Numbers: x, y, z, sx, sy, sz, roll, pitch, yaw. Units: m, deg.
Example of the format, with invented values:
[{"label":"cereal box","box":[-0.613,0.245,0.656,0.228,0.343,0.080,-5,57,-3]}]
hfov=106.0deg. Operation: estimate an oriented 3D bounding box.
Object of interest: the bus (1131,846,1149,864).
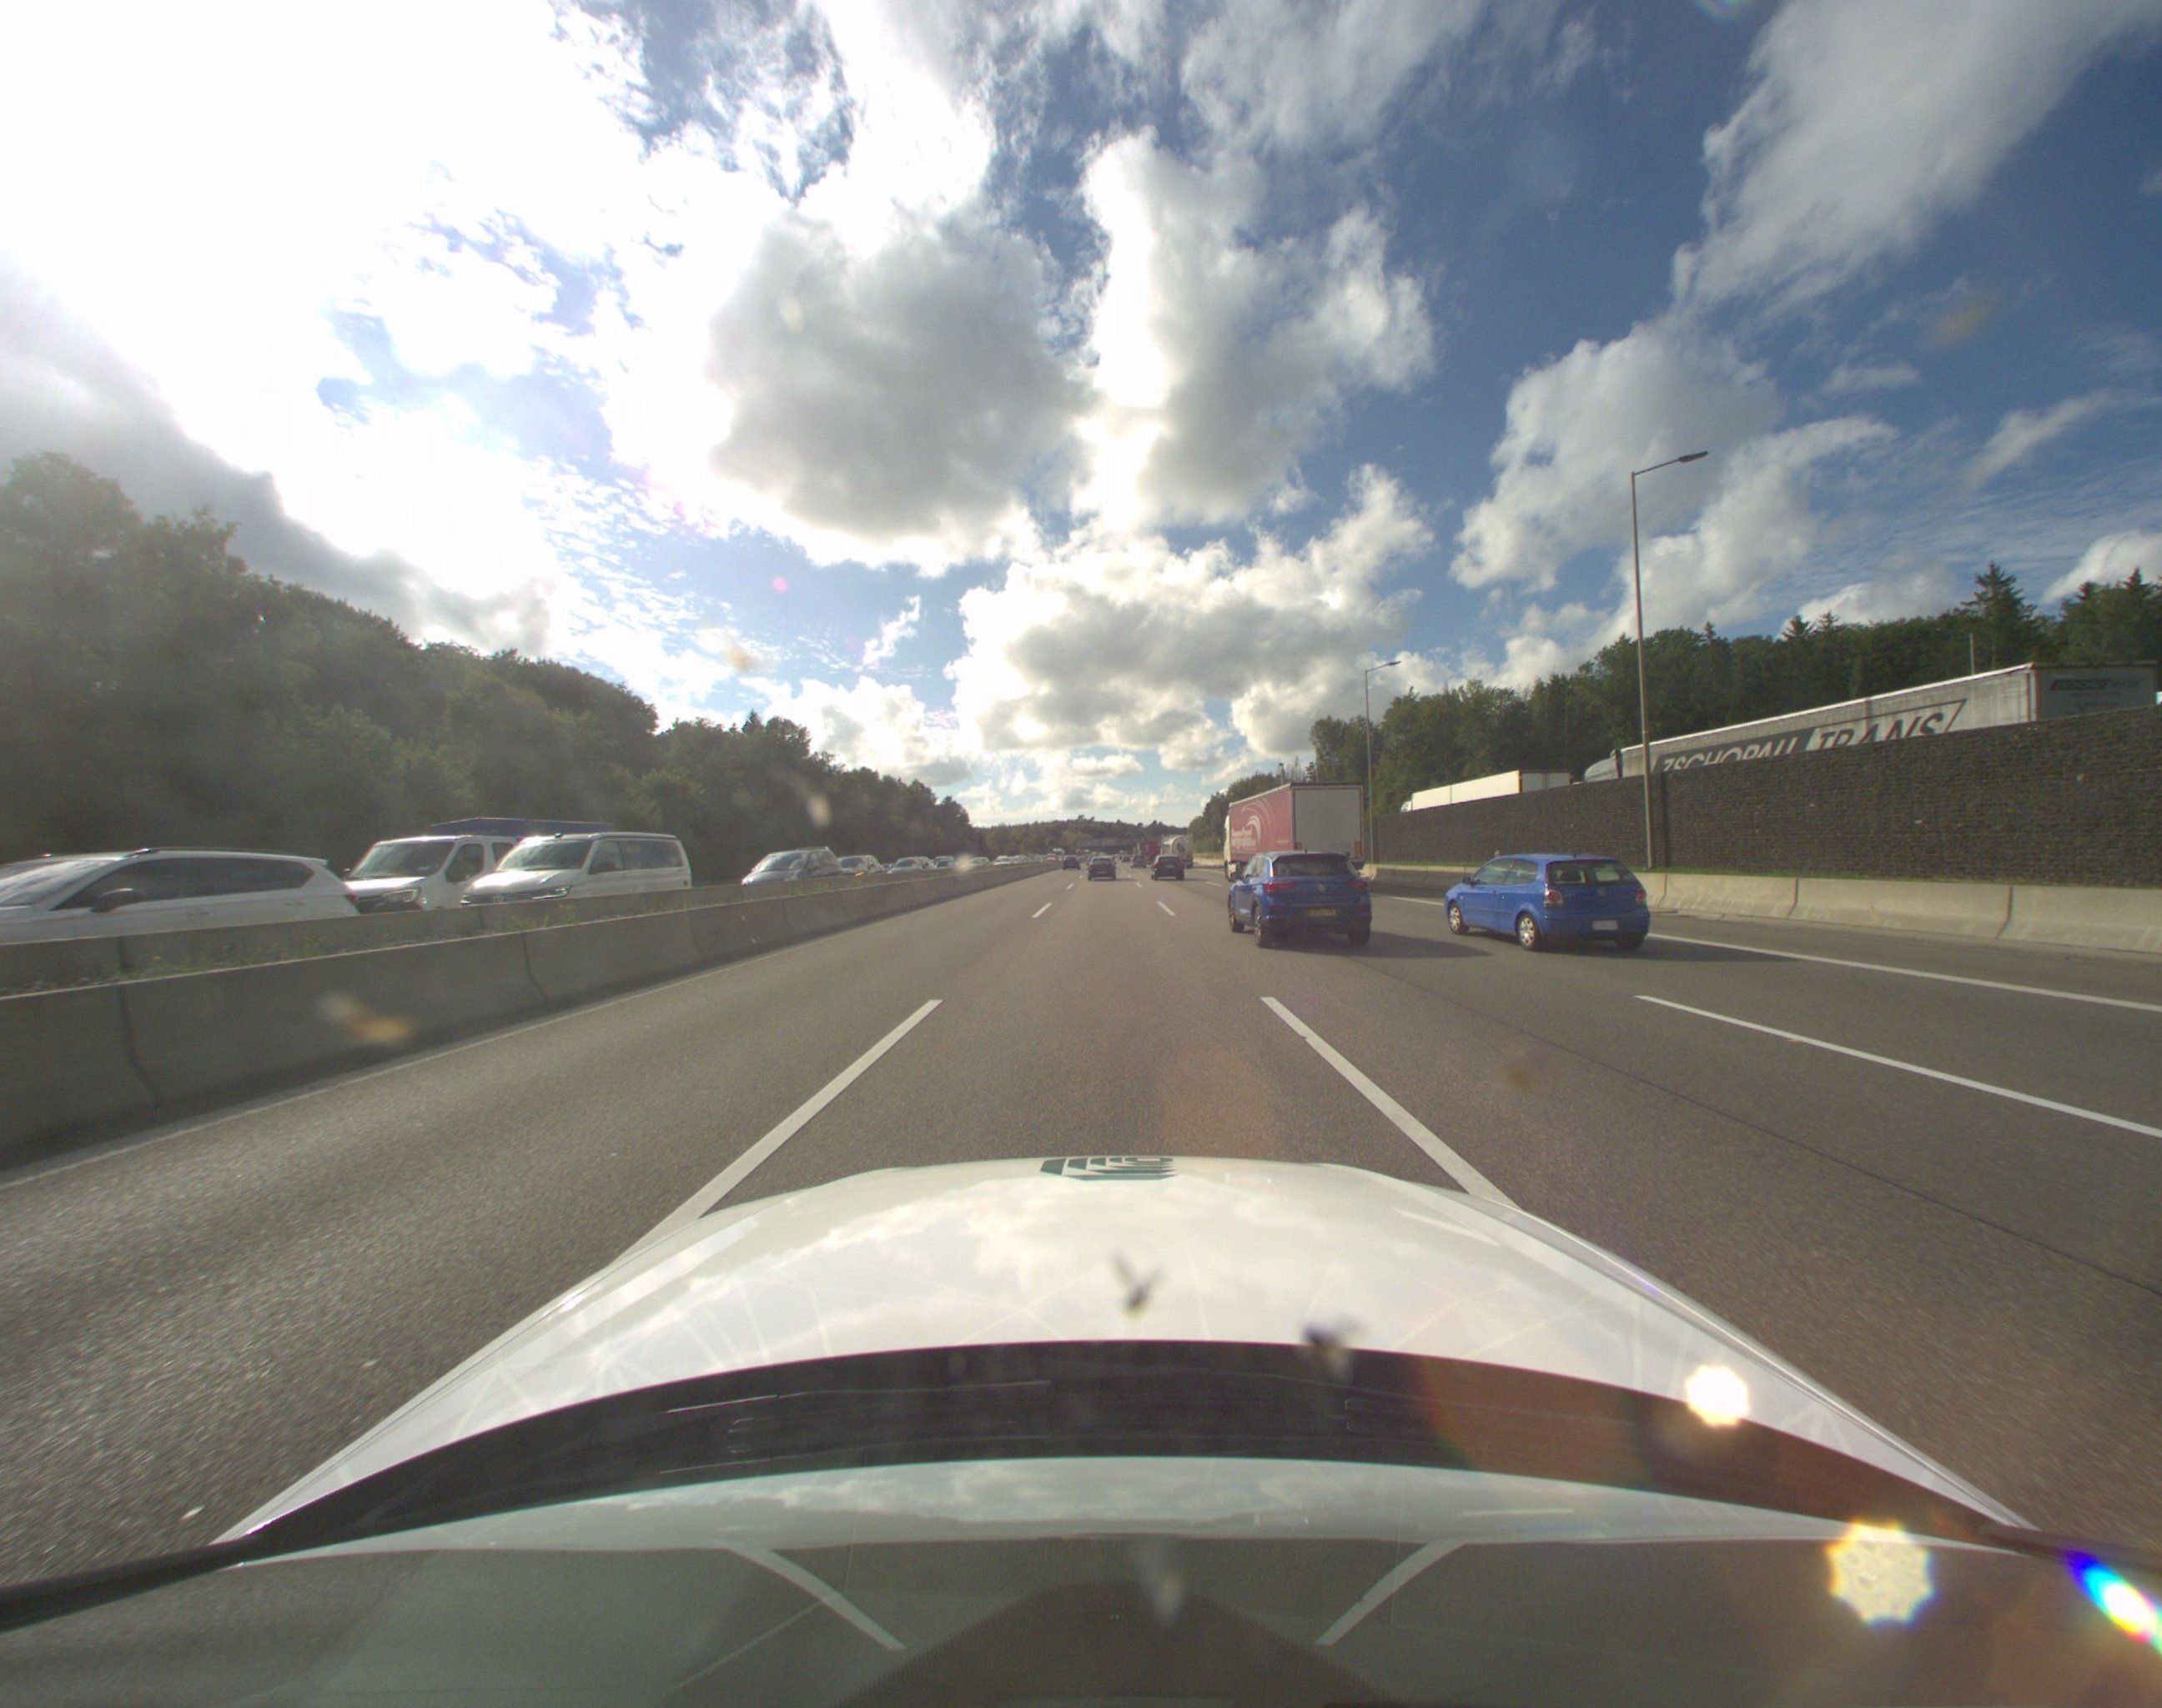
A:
[{"label":"bus","box":[6.870,0.117,95.741,1.986,2.014,4.001,-1,-2,2]}]

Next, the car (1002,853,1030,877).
[{"label":"car","box":[-5.906,1.037,74.660,1.985,2.014,4.002,-1,-2,3]}]

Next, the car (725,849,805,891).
[{"label":"car","box":[-16.006,0.850,41.561,1.985,2.014,4.857,-1,-2,3]}]

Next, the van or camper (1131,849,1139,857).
[{"label":"van or camper","box":[16.367,-0.321,245.850,2.076,2.493,4.226,-1,0,1]}]

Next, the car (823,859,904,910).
[{"label":"car","box":[-9.115,1.273,34.586,1.985,2.014,4.550,-1,-2,3]}]

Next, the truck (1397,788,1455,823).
[{"label":"truck","box":[22.570,-3.129,53.502,2.138,2.013,4.001,-2,0,1]}]

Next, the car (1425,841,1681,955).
[{"label":"car","box":[7.371,0.626,13.304,1.709,1.511,4.302,-2,-1,1]}]

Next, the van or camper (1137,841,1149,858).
[{"label":"van or camper","box":[12.408,-0.957,163.315,2.342,3.144,5.714,-1,-2,3]}]

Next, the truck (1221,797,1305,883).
[{"label":"truck","box":[9.168,-0.581,41.768,3.069,4.064,6.071,-1,-2,1]}]

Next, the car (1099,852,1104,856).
[{"label":"car","box":[6.713,0.010,262.085,1.617,1.470,3.816,0,-1,2]}]

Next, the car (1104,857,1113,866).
[{"label":"car","box":[6.570,1.800,193.995,1.986,2.014,4.001,-2,-2,1]}]

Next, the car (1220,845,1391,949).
[{"label":"car","box":[3.775,0.648,14.590,1.917,1.541,4.648,-1,0,2]}]

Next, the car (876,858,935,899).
[{"label":"car","box":[-9.004,1.267,42.123,1.985,2.014,4.002,-1,-2,3]}]

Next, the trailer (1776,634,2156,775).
[{"label":"trailer","box":[21.393,-3.463,20.442,2.043,2.014,6.965,-1,-2,2]}]

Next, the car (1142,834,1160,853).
[{"label":"car","box":[11.822,-1.709,137.203,2.855,2.992,5.152,-1,-2,3]}]

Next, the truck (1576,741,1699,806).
[{"label":"truck","box":[21.679,-3.082,31.946,2.037,2.014,4.097,-1,-2,1]}]

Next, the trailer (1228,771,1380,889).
[{"label":"trailer","box":[8.931,-0.597,34.990,3.027,4.036,13.892,-1,-2,2]}]

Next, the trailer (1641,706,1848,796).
[{"label":"trailer","box":[21.565,-3.248,26.932,2.037,2.014,6.007,-1,-2,2]}]

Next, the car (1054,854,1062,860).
[{"label":"car","box":[-7.232,0.973,253.555,1.985,2.013,4.003,-1,0,3]}]

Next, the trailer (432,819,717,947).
[{"label":"trailer","box":[-12.975,0.671,22.063,2.271,2.786,8.541,-1,-1,1]}]

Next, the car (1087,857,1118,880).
[{"label":"car","box":[1.293,0.918,50.381,1.729,1.365,3.998,0,-1,-1]}]

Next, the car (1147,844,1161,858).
[{"label":"car","box":[11.381,-0.489,127.308,1.986,2.014,4.001,-1,-2,1]}]

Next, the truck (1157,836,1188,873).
[{"label":"truck","box":[10.905,0.103,97.221,3.034,4.160,7.129,-1,-1,2]}]

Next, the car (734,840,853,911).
[{"label":"car","box":[-8.867,0.703,25.624,1.986,2.014,4.677,-1,-2,1]}]

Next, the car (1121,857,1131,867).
[{"label":"car","box":[9.172,1.671,166.986,1.986,2.014,4.001,0,-1,1]}]

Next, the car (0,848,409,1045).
[{"label":"car","box":[-9.443,0.745,8.096,1.758,1.572,4.360,0,0,3]}]

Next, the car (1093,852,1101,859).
[{"label":"car","box":[4.340,0.455,222.151,1.987,2.014,3.999,-1,0,-1]}]

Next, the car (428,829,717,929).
[{"label":"car","box":[-9.344,0.401,15.709,1.985,1.572,5.333,1,0,3]}]

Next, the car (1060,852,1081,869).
[{"label":"car","box":[-1.122,0.751,89.872,1.986,1.776,4.002,-2,0,2]}]

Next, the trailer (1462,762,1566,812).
[{"label":"trailer","box":[22.251,-3.372,42.200,2.122,2.013,6.323,-2,0,1]}]

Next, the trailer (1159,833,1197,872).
[{"label":"trailer","box":[10.740,-0.027,91.100,3.025,4.016,12.246,-1,-1,1]}]

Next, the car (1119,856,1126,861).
[{"label":"car","box":[13.207,1.543,259.933,1.986,1.618,4.001,-1,0,1]}]

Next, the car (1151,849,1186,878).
[{"label":"car","box":[5.186,0.568,48.592,1.792,1.644,4.002,0,-1,2]}]

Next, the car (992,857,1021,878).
[{"label":"car","box":[-6.860,1.274,75.412,1.949,1.864,4.554,-1,-2,4]}]

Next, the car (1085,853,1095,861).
[{"label":"car","box":[2.180,0.733,193.724,2.146,1.776,4.002,0,-1,2]}]

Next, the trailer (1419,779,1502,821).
[{"label":"trailer","box":[22.415,-3.123,48.410,2.122,2.013,6.236,-2,0,1]}]
